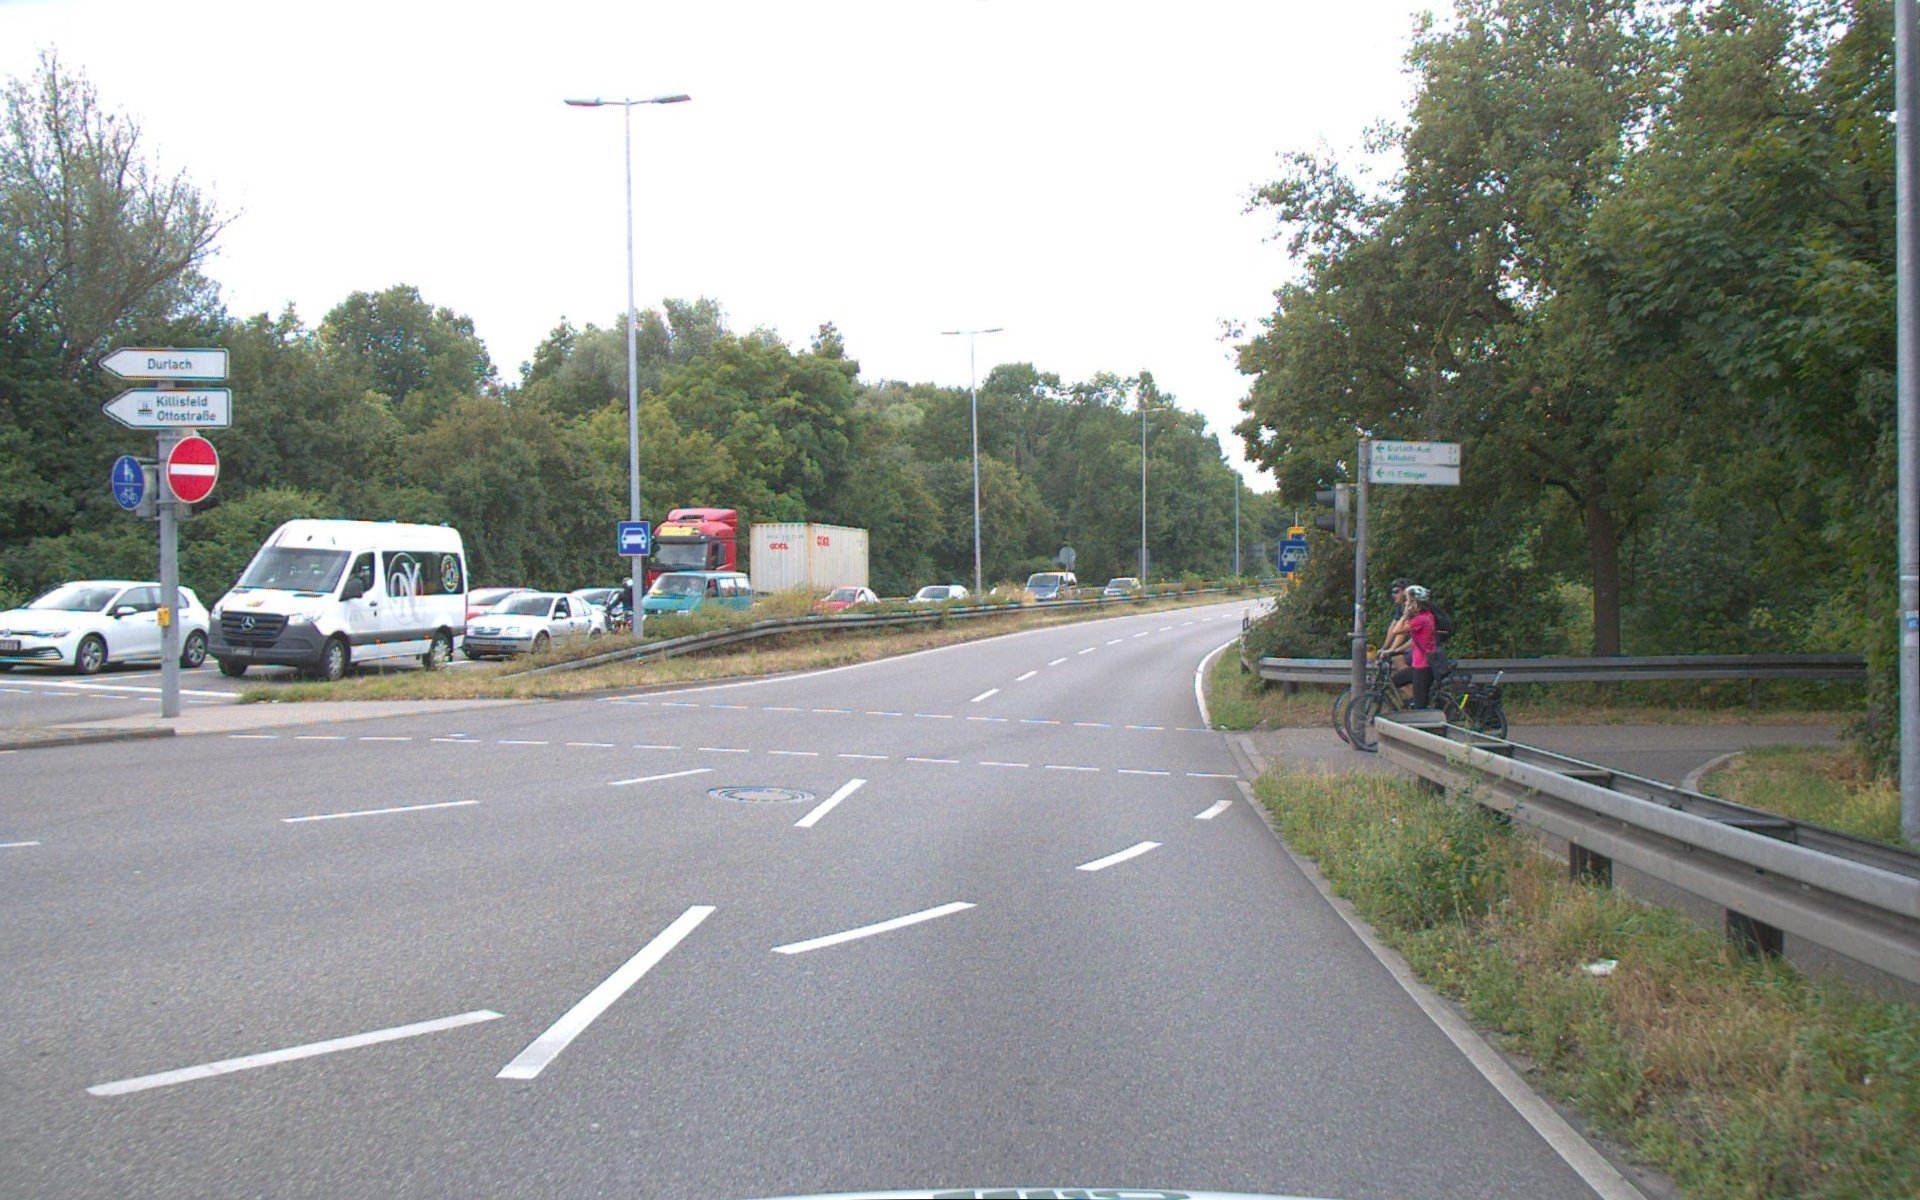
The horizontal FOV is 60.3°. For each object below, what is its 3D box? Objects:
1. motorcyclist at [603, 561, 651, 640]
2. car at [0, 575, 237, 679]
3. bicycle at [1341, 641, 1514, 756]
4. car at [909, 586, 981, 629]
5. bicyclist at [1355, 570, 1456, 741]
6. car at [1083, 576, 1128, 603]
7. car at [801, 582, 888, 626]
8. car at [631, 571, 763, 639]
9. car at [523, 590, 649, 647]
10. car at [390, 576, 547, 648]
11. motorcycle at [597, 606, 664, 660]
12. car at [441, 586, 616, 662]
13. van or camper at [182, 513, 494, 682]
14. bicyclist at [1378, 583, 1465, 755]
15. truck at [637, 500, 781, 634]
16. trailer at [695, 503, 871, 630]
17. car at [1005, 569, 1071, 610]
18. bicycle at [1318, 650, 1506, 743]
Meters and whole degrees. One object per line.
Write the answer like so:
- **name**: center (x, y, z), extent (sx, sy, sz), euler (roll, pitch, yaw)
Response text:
- **motorcyclist**: center (-7.981, 0.012, 39.661), extent (0.847, 1.855, 0.926), euler (0, 0, 10)
- **car**: center (-14.233, 0.400, 27.487), extent (1.951, 1.574, 4.542), euler (1, 0, 8)
- **bicycle**: center (4.926, 1.023, 17.416), extent (1.705, 1.158, 0.631), euler (-1, -1, 19)
- **car**: center (-0.582, 0.295, 67.854), extent (1.801, 1.696, 4.338), euler (0, 0, 16)
- **bicyclist**: center (5.039, 0.618, 18.755), extent (0.929, 1.876, 0.664), euler (-2, 0, 2)
- **car**: center (8.435, -0.576, 95.596), extent (1.730, 1.532, 3.941), euler (0, 0, 18)
- **car**: center (-4.000, 0.139, 57.826), extent (1.766, 1.457, 4.128), euler (0, 0, 15)
- **car**: center (-7.139, 0.131, 45.410), extent (1.765, 1.759, 4.965), euler (0, 0, 14)
- **car**: center (-10.318, 0.482, 45.920), extent (1.765, 1.491, 4.282), euler (0, 0, 12)
- **car**: center (-11.779, 0.276, 39.920), extent (1.951, 1.642, 4.003), euler (0, 0, 12)
- **motorcycle**: center (-7.877, 0.765, 39.641), extent (0.782, 1.246, 2.328), euler (0, 0, 10)
- **car**: center (-9.223, 0.489, 35.792), extent (1.951, 1.524, 4.404), euler (1, 0, 11)
- **van or camper**: center (-10.646, -0.046, 29.066), extent (2.114, 2.634, 6.501), euler (0, 0, 10)
- **bicyclist**: center (4.870, 0.712, 17.440), extent (0.833, 1.762, 0.637), euler (-1, -1, 19)
- **truck**: center (-8.142, -1.020, 54.325), extent (2.514, 4.155, 5.626), euler (0, 0, 17)
- **trailer**: center (-6.233, -1.118, 60.660), extent (2.481, 4.220, 10.778), euler (0, 0, 16)
- **car**: center (3.833, -0.495, 80.185), extent (1.967, 1.896, 5.281), euler (0, 0, 17)
- **bicycle**: center (5.104, 1.086, 18.760), extent (1.930, 0.957, 0.661), euler (-2, 0, 3)
